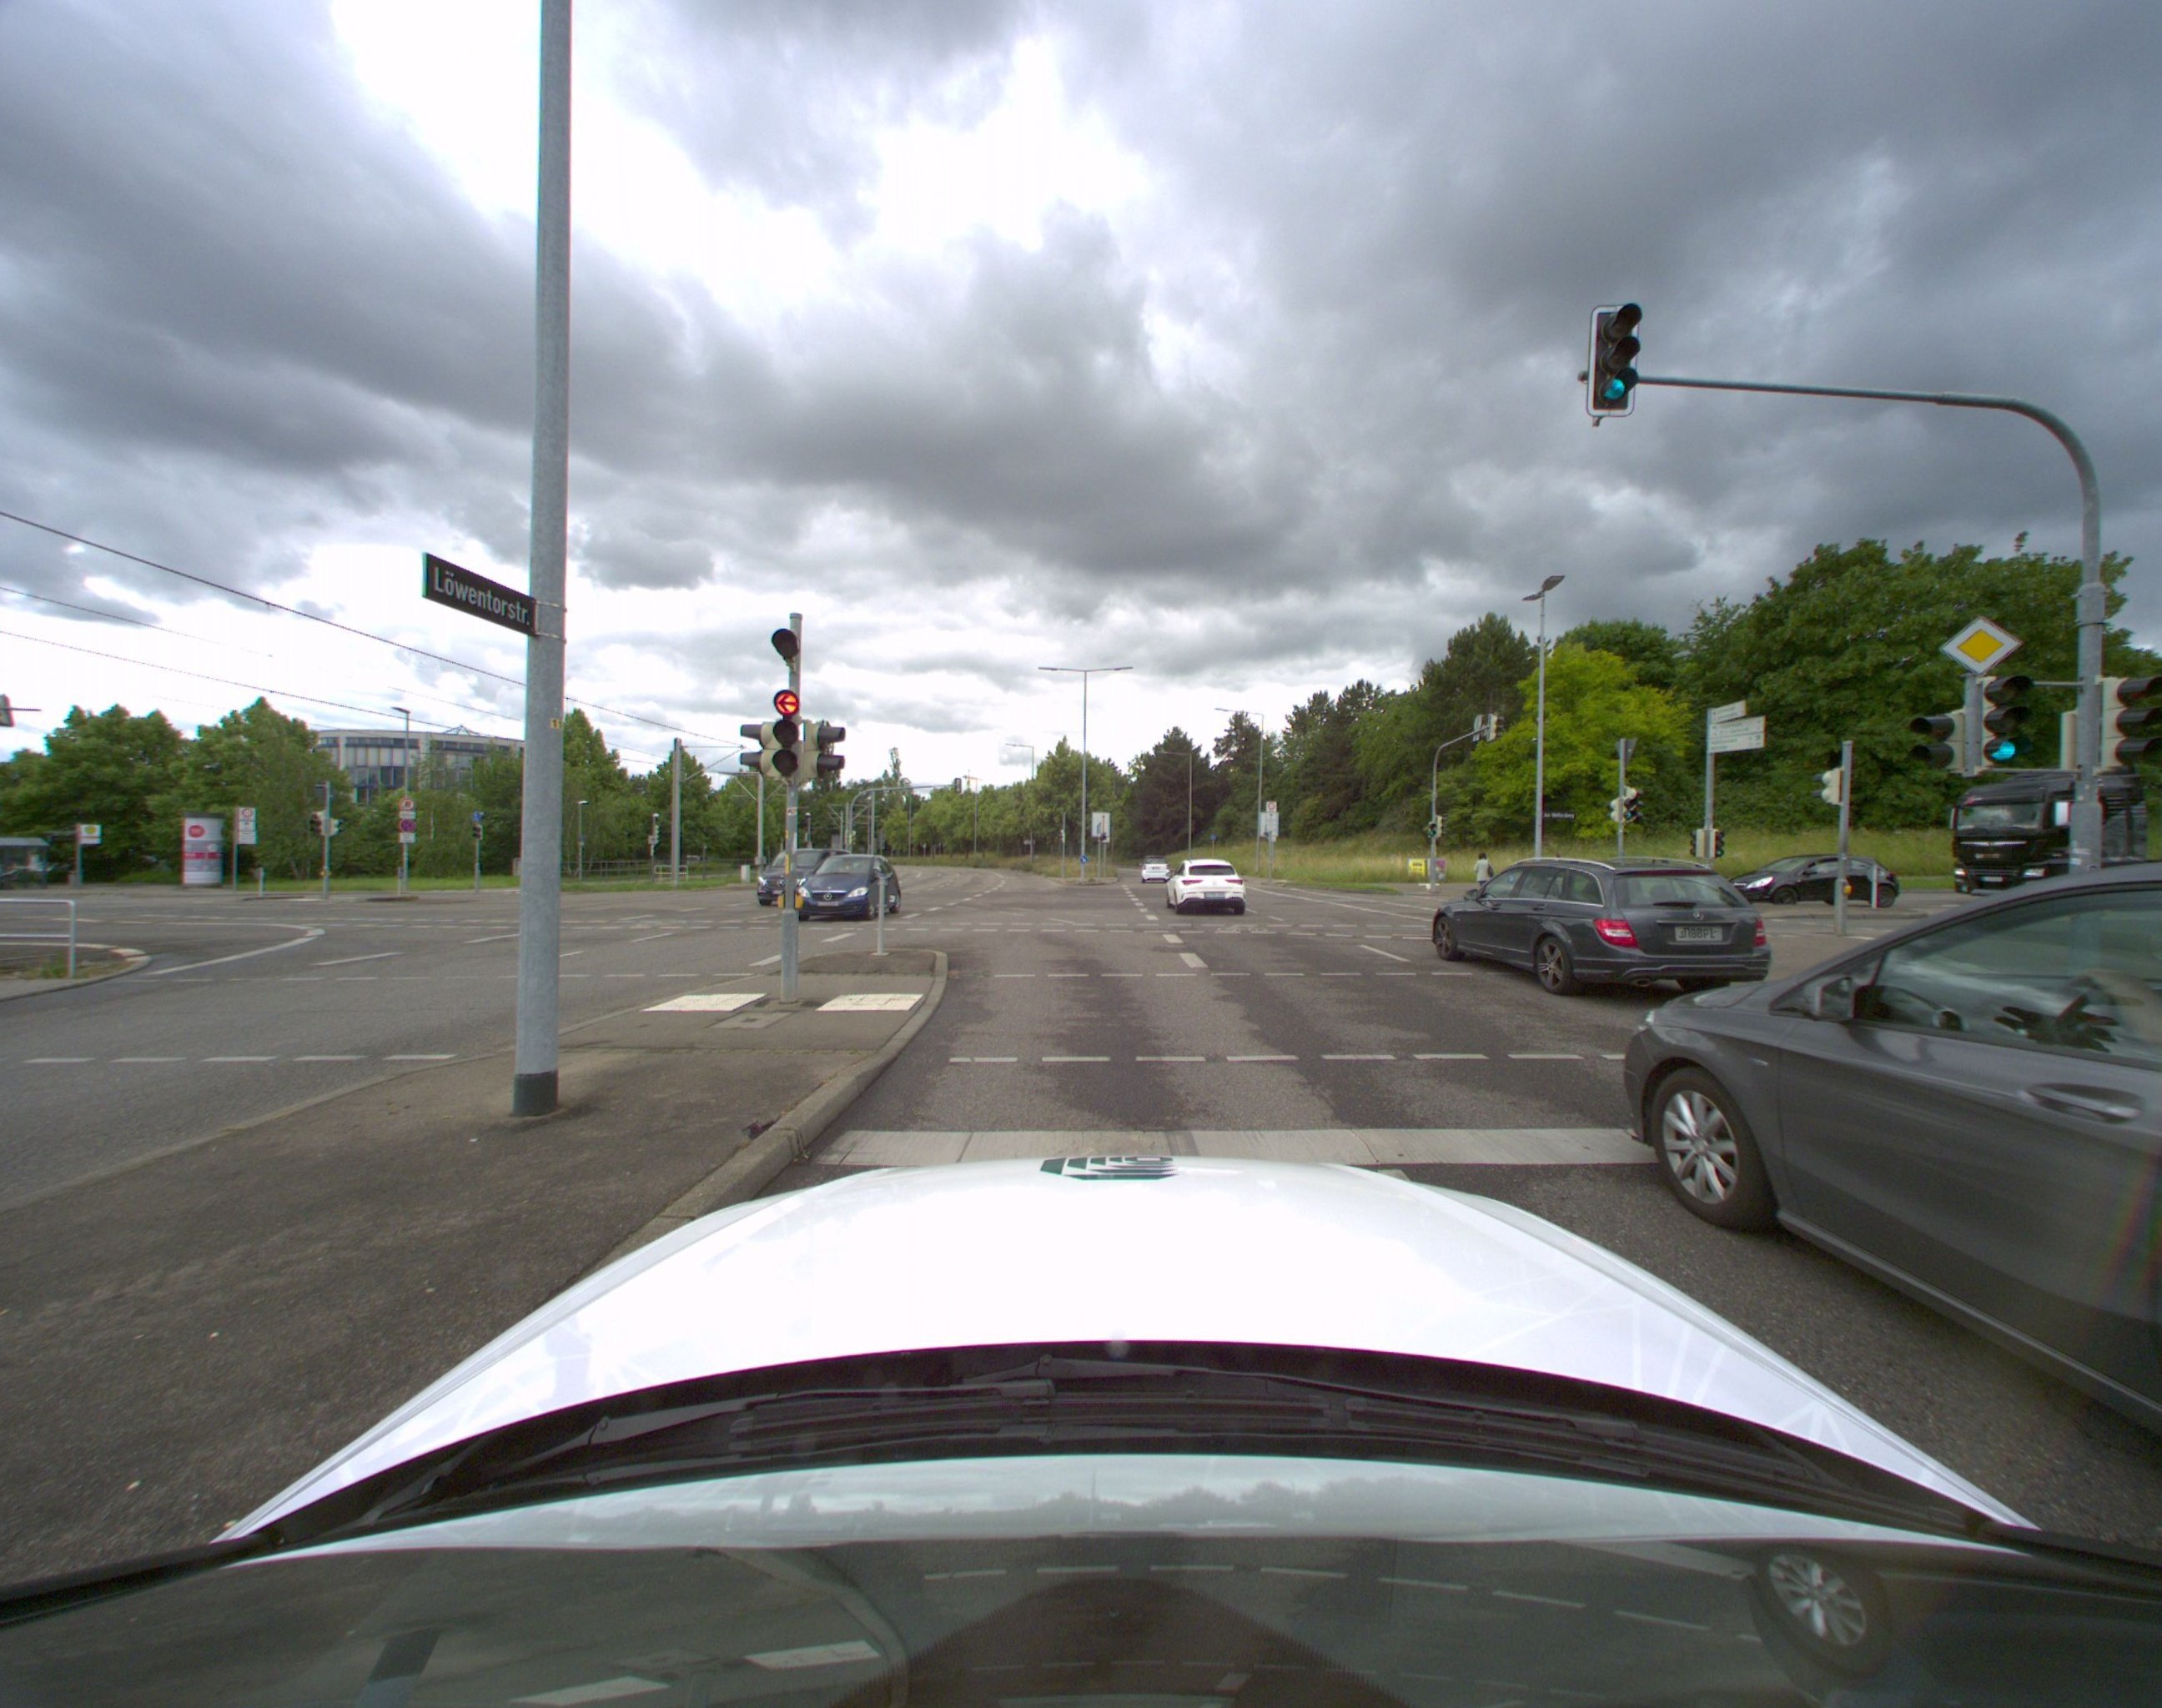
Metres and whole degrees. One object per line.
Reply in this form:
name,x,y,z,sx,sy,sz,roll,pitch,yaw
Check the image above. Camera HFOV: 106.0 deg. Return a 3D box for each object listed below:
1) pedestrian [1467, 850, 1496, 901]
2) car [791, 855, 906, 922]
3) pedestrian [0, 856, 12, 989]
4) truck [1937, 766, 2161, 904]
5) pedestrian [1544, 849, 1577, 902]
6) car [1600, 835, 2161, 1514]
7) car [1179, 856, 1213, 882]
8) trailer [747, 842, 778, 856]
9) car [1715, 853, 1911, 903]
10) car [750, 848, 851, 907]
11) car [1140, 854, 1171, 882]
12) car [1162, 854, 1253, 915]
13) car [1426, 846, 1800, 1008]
pedestrian,13.251,0.718,26.963,0.640,1.662,0.715,0,-1,8
car,-5.725,0.809,20.478,1.729,1.508,3.661,0,-1,2
pedestrian,-12.808,0.791,9.138,0.632,1.536,0.719,0,-1,-2
truck,27.977,-0.507,22.308,5.971,3.486,2.694,-1,-1,4
pedestrian,14.907,0.663,25.339,0.640,1.612,0.715,0,-1,7
car,3.284,0.706,1.984,1.738,1.508,4.005,0,1,4
car,6.791,0.861,48.540,1.607,1.453,3.883,0,-1,2
trailer,-69.957,-1.164,178.932,6.012,3.012,2.771,-1,-1,25
car,20.327,0.656,22.749,3.859,1.338,1.698,0,-1,4
car,-9.436,0.728,27.860,1.883,1.812,5.087,-1,0,-3
car,4.204,0.767,46.260,1.586,1.516,2.767,0,-1,1
car,3.382,0.773,22.542,1.838,1.506,4.530,0,-1,0
car,5.863,0.657,9.740,1.740,1.485,4.358,0,1,2
